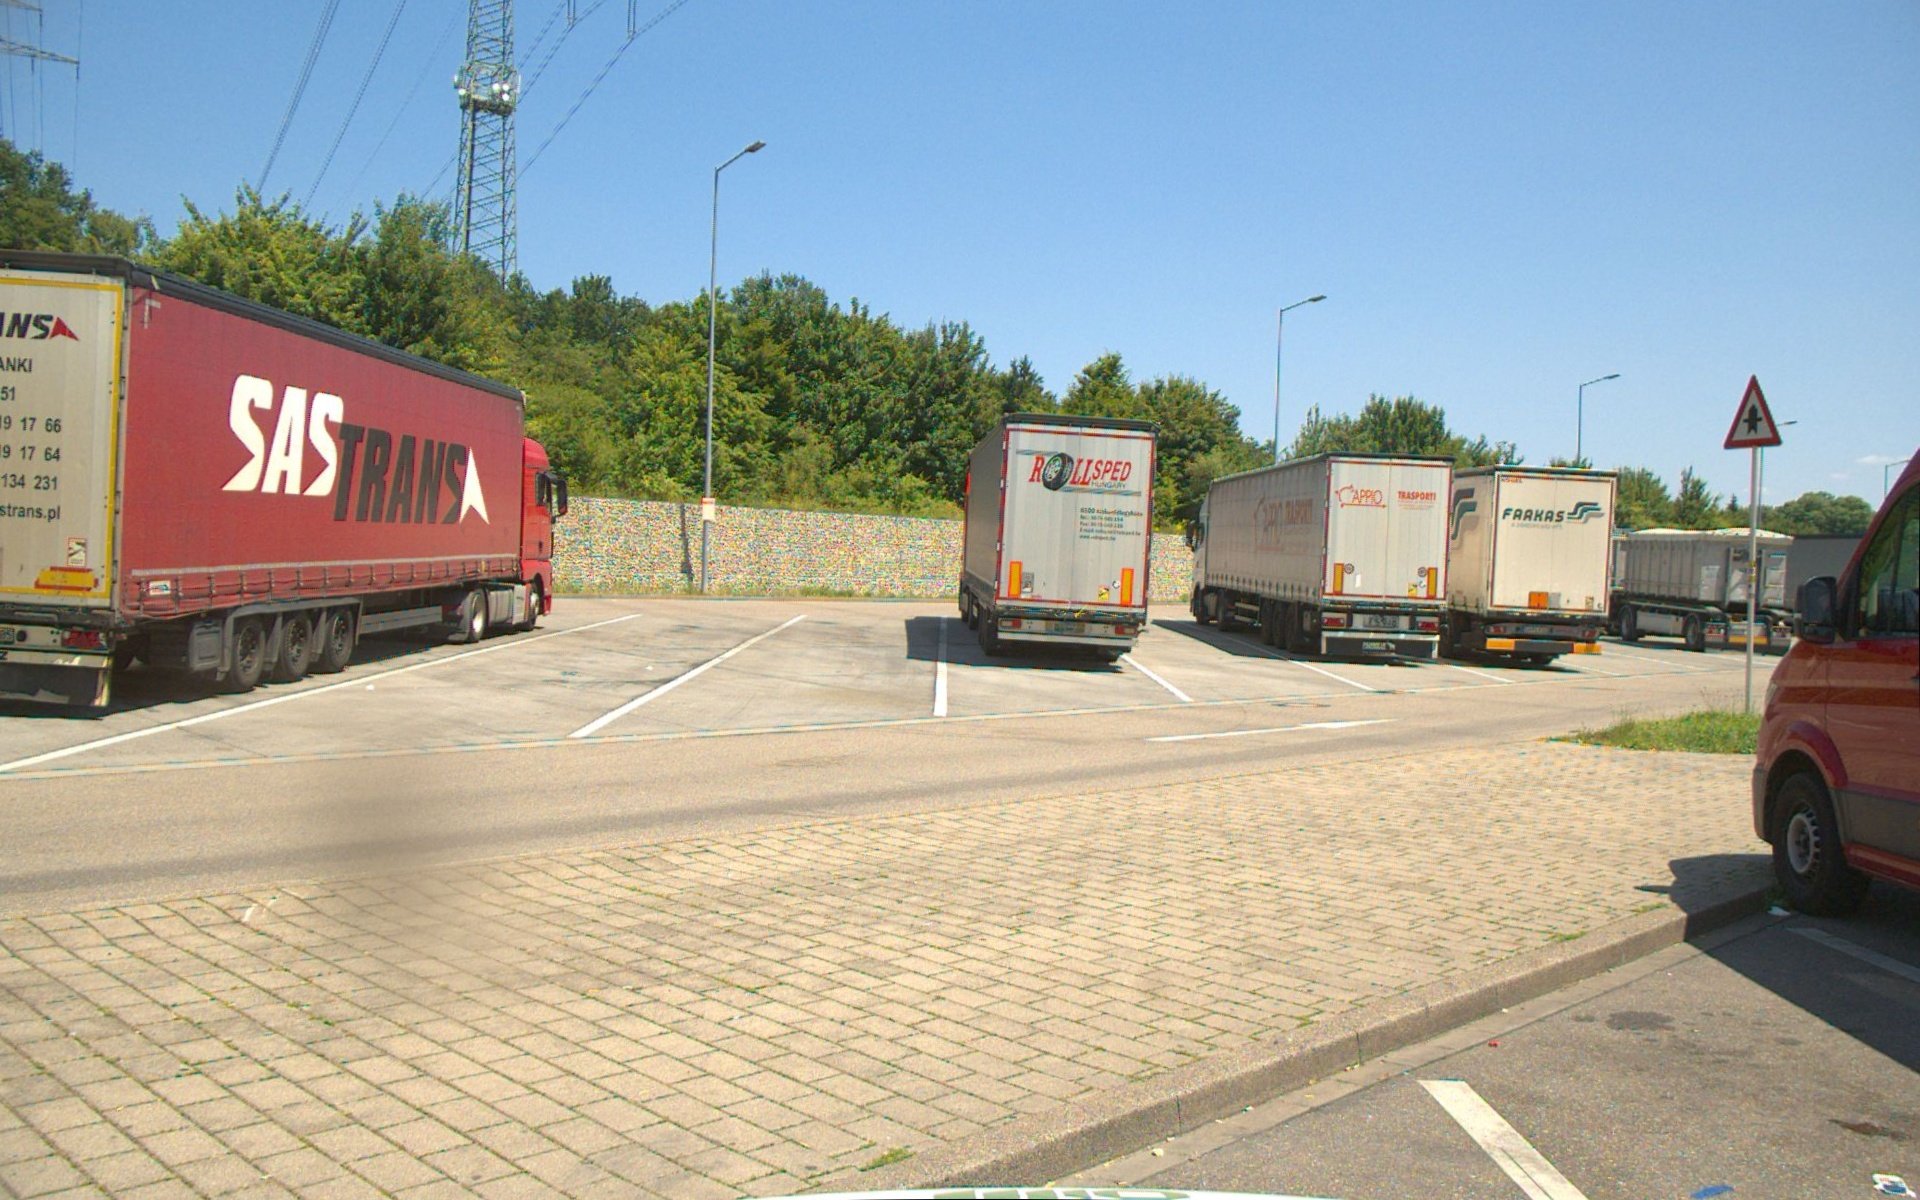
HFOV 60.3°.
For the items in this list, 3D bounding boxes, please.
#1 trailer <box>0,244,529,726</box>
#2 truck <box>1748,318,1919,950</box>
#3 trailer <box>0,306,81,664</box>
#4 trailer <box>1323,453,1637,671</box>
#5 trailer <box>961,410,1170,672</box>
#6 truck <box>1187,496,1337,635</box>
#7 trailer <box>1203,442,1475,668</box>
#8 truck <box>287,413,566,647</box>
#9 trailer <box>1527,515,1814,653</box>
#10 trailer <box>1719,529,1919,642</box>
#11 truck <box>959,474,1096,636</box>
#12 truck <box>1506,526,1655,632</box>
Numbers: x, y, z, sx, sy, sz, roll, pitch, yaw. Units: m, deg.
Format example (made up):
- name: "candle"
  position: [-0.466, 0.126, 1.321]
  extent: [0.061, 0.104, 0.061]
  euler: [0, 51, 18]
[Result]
- name: "trailer"
  position: [-8.690, -1.273, 21.248]
  extent: [2.764, 4.141, 13.763]
  euler: [2, 2, -1]
- name: "truck"
  position: [4.991, 0.154, 5.512]
  extent: [1.969, 2.697, 6.457]
  euler: [1, 0, 3]
- name: "trailer"
  position: [-12.488, -1.262, 15.792]
  extent: [2.651, 4.173, 10.389]
  euler: [2, 2, -1]
- name: "trailer"
  position: [11.772, -0.991, 39.560]
  extent: [2.800, 4.180, 13.762]
  euler: [2, 2, -1]
- name: "trailer"
  position: [1.678, -1.177, 33.144]
  extent: [2.800, 4.040, 13.761]
  euler: [2, 2, -2]
- name: "truck"
  position: [8.131, -0.985, 45.258]
  extent: [2.808, 3.421, 5.974]
  euler: [2, 2, -1]
- name: "trailer"
  position: [8.252, -1.102, 38.496]
  extent: [2.800, 4.180, 13.762]
  euler: [2, 2, -1]
- name: "truck"
  position: [-8.798, -1.164, 28.063]
  extent: [2.755, 3.421, 5.974]
  euler: [2, 2, -1]
- name: "trailer"
  position: [21.840, -0.680, 52.237]
  extent: [2.800, 3.662, 13.762]
  euler: [2, 2, -1]
- name: "trailer"
  position: [34.795, -0.707, 65.435]
  extent: [2.800, 3.972, 13.762]
  euler: [2, 2, -1]
- name: "truck"
  position: [1.478, -1.093, 39.341]
  extent: [2.808, 3.421, 5.974]
  euler: [2, 2, -1]
- name: "truck"
  position: [21.743, -0.794, 58.332]
  extent: [2.808, 3.421, 5.974]
  euler: [2, 2, -1]
